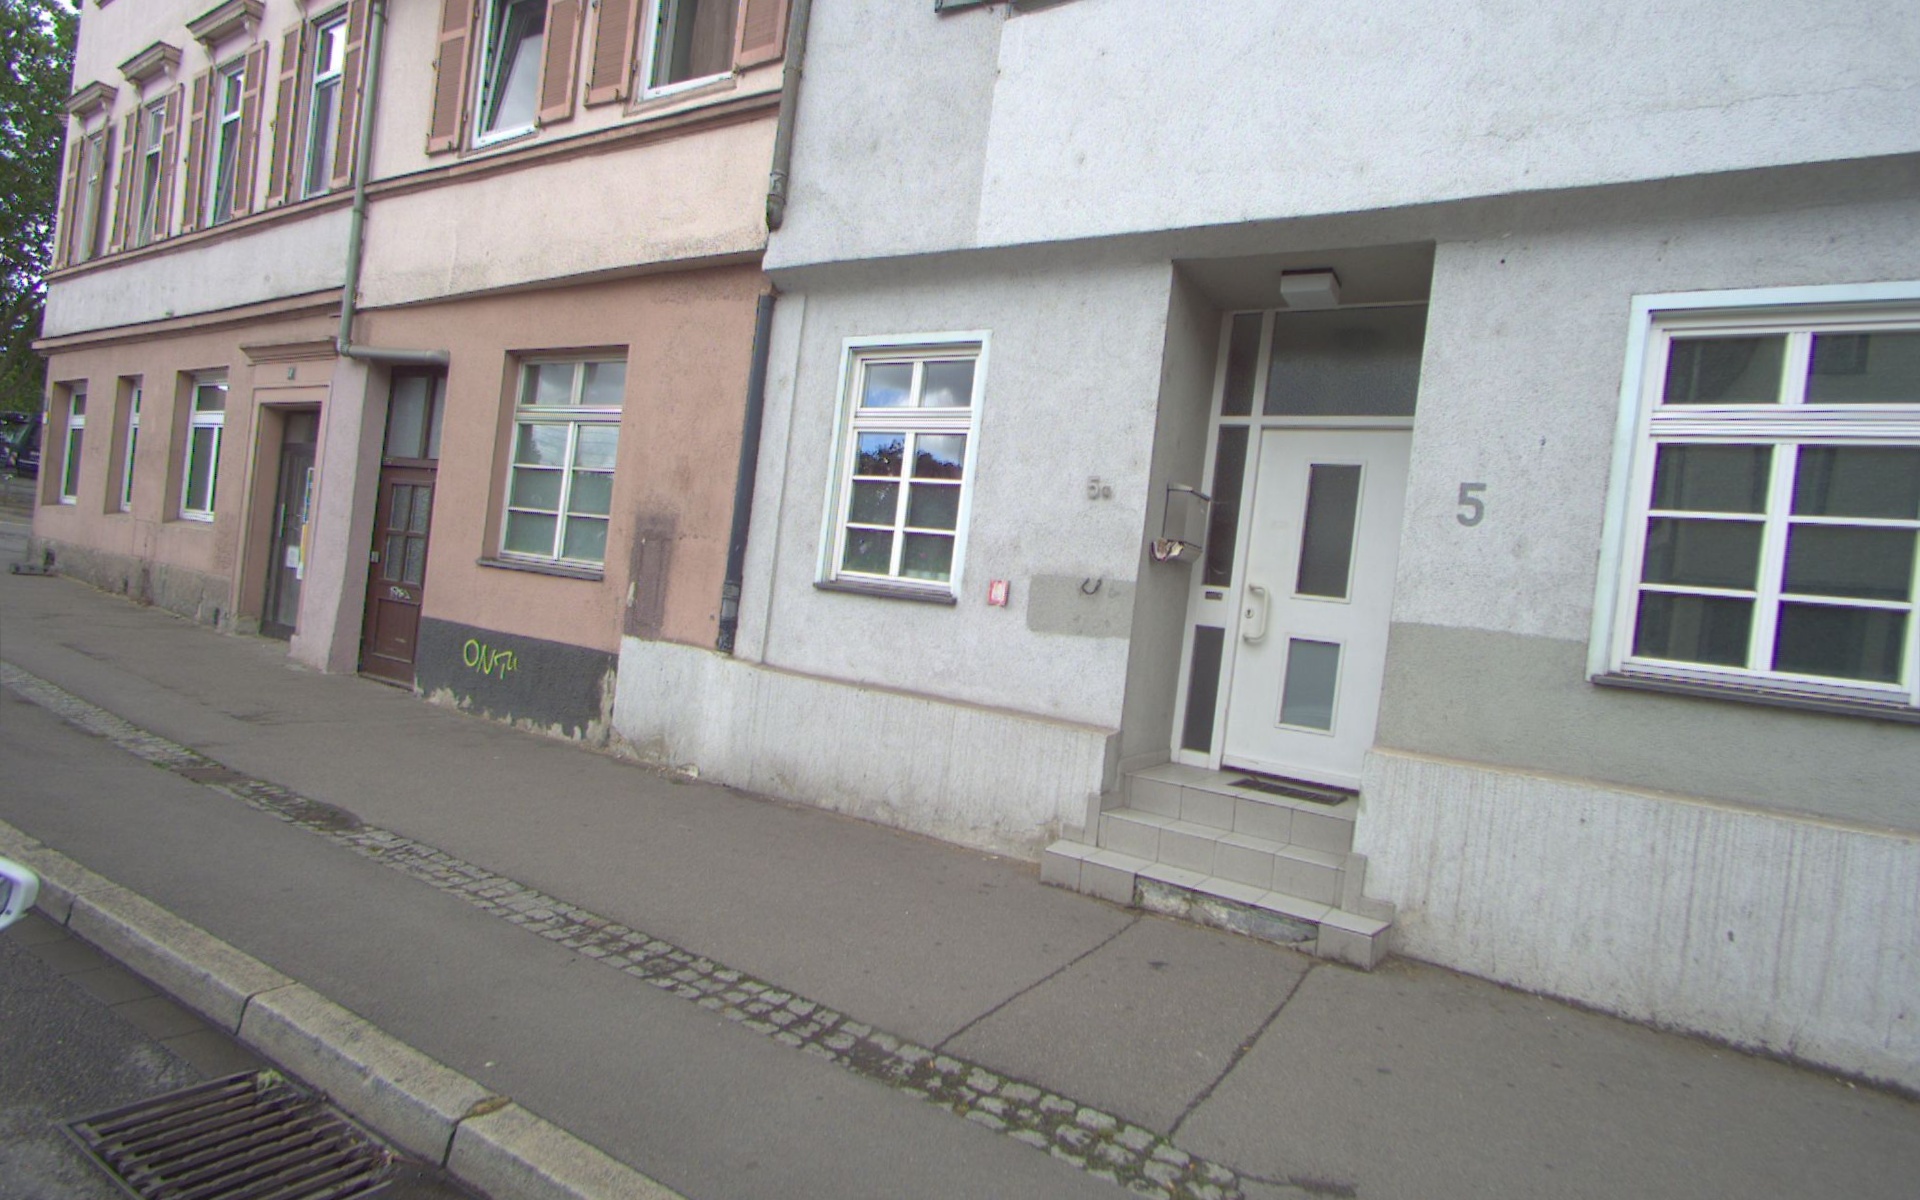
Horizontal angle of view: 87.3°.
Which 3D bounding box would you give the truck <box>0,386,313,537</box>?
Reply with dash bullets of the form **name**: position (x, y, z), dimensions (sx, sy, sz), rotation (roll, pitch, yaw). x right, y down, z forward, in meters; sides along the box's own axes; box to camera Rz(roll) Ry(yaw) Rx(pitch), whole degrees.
- **truck**: position (-30.926, -5.042, 38.815), dimensions (2.230, 3.740, 10.217), rotation (7, -1, 24)
